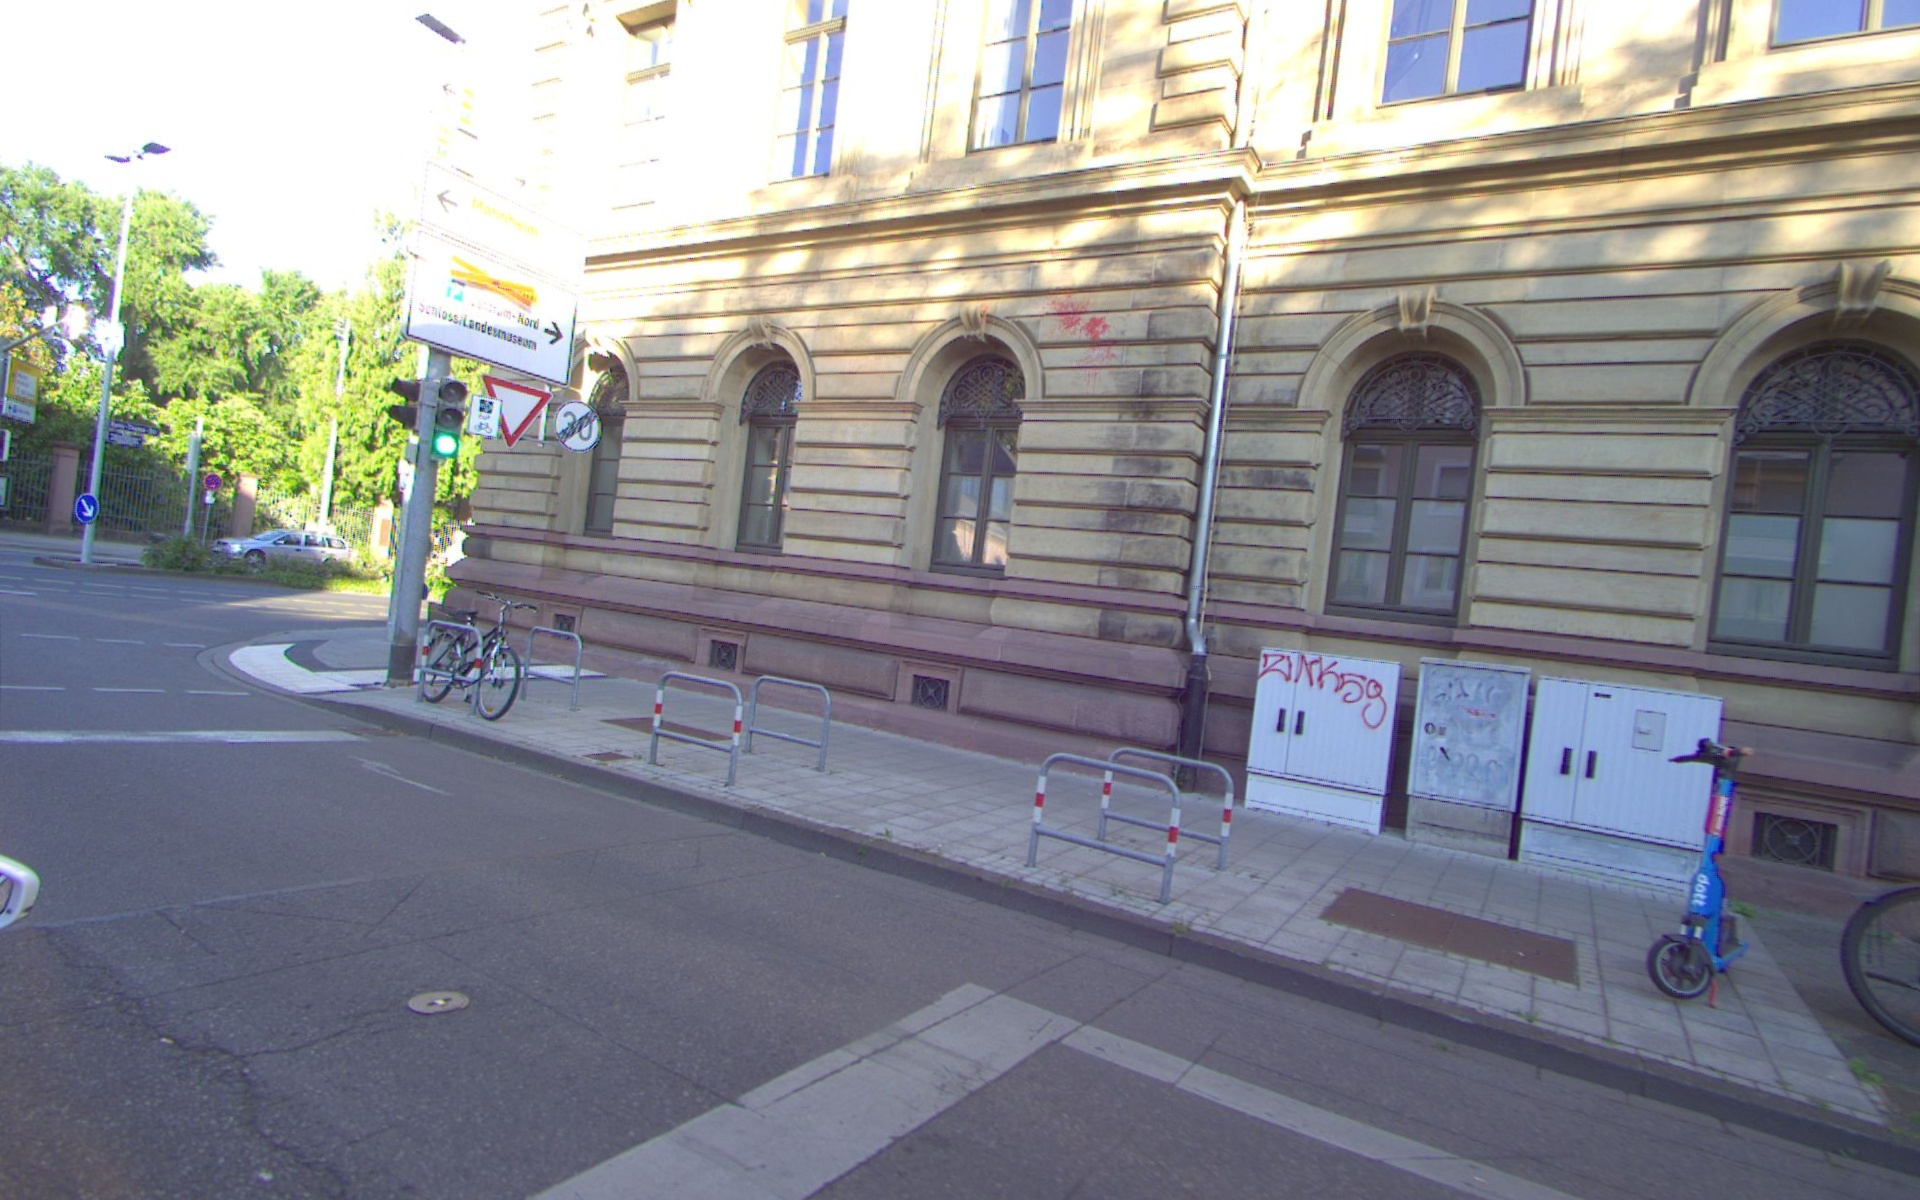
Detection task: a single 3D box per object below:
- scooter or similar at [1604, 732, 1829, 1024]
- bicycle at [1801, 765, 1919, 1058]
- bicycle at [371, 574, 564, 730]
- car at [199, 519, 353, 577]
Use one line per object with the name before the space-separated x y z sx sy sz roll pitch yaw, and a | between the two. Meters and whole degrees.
scooter or similar | 3.846 1.325 5.096 1.124 1.211 0.577 4 2 -41
bicycle | 5.029 1.510 4.355 1.912 1.149 0.827 7 3 32
bicycle | -4.512 0.444 9.165 1.889 1.203 0.583 5 -1 32
car | -24.373 -1.823 36.007 1.685 1.462 4.195 7 -1 27
